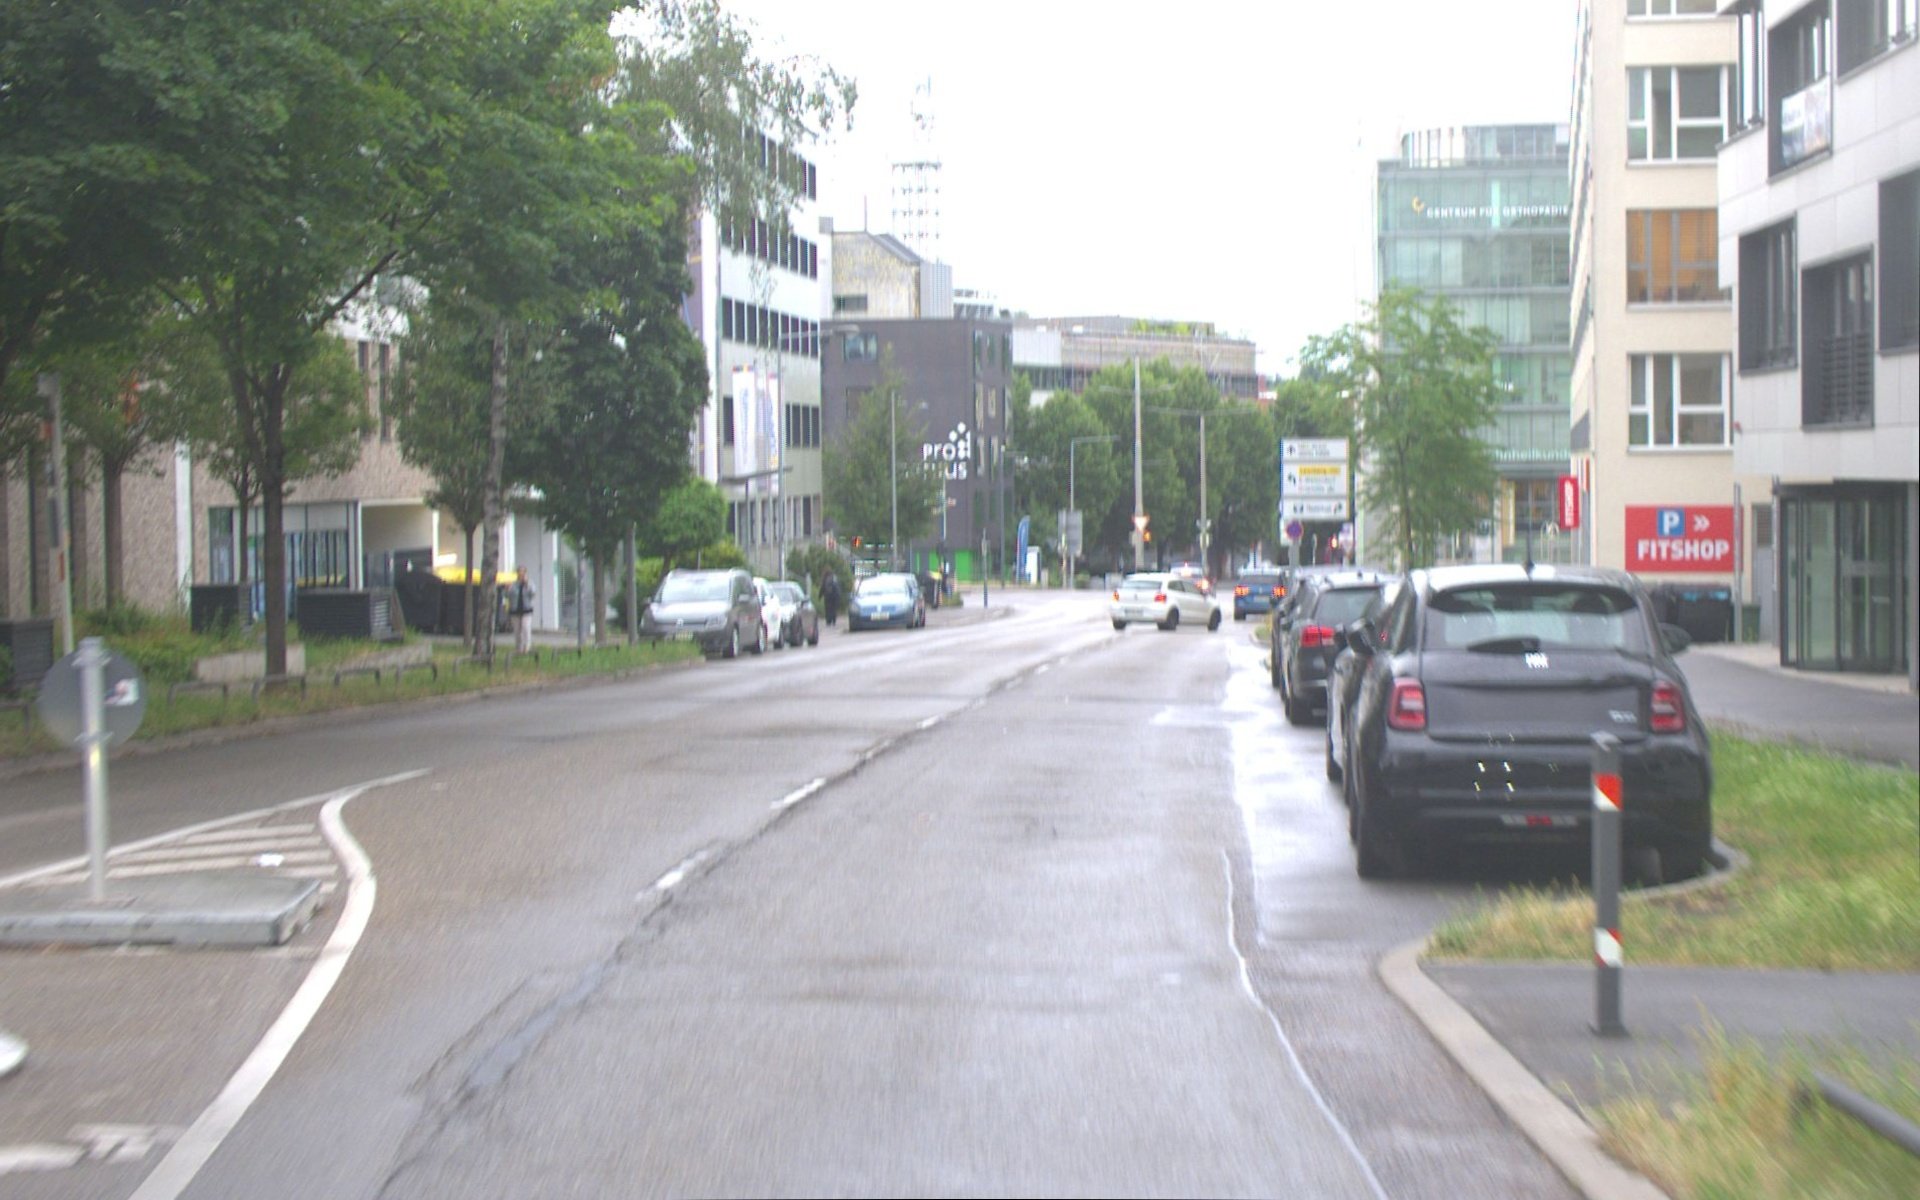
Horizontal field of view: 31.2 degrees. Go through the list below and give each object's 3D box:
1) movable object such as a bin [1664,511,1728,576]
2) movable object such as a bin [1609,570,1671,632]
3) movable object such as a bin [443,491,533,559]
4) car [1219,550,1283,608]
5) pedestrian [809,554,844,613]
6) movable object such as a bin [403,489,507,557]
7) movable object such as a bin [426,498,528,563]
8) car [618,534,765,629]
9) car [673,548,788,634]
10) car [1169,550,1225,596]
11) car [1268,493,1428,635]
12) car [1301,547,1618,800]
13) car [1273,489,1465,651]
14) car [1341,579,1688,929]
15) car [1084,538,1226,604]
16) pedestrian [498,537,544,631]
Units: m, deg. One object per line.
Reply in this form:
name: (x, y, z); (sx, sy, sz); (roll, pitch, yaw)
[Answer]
movable object such as a bin: (16.028, -1.238, 74.932); (1.261, 1.398, 1.112); (1, 2, 7)
movable object such as a bin: (14.672, 0.016, 74.220); (1.235, 1.315, 1.191); (0, 1, 7)
movable object such as a bin: (-10.815, -1.721, 78.835); (1.795, 1.505, 1.482); (-1, 2, 2)
car: (9.309, -0.683, 110.032); (1.994, 1.744, 3.672); (1, 2, 5)
pedestrian: (-3.866, -0.486, 99.610); (0.728, 1.702, 0.904); (0, 1, -22)
movable object such as a bin: (-11.158, -1.701, 75.992); (2.027, 1.425, 1.290); (2, 2, 2)
movable object such as a bin: (-10.854, -1.573, 77.345); (2.054, 1.418, 1.317); (1, 2, 2)
car: (-4.993, -0.378, 64.568); (2.077, 1.603, 4.685); (-1, 2, 4)
car: (-4.635, -0.209, 69.970); (1.773, 1.595, 4.031); (1, 2, 4)
car: (9.309, -1.055, 134.761); (2.142, 1.722, 4.000); (1, 1, 4)
car: (4.614, -0.455, 41.350); (1.749, 1.599, 4.373); (1, 1, 5)
car: (3.251, 0.411, 23.112); (1.808, 1.479, 4.495); (1, 1, 5)
car: (4.228, -0.346, 36.134); (1.808, 1.558, 4.846); (1, 1, 5)
car: (2.789, 0.708, 17.890); (1.546, 1.473, 3.660); (1, 3, 6)
car: (5.094, -0.762, 89.294); (1.997, 1.571, 3.989); (2, 3, 32)
pedestrian: (-8.030, -0.304, 62.914); (0.708, 1.677, 0.957); (0, 2, 1)
